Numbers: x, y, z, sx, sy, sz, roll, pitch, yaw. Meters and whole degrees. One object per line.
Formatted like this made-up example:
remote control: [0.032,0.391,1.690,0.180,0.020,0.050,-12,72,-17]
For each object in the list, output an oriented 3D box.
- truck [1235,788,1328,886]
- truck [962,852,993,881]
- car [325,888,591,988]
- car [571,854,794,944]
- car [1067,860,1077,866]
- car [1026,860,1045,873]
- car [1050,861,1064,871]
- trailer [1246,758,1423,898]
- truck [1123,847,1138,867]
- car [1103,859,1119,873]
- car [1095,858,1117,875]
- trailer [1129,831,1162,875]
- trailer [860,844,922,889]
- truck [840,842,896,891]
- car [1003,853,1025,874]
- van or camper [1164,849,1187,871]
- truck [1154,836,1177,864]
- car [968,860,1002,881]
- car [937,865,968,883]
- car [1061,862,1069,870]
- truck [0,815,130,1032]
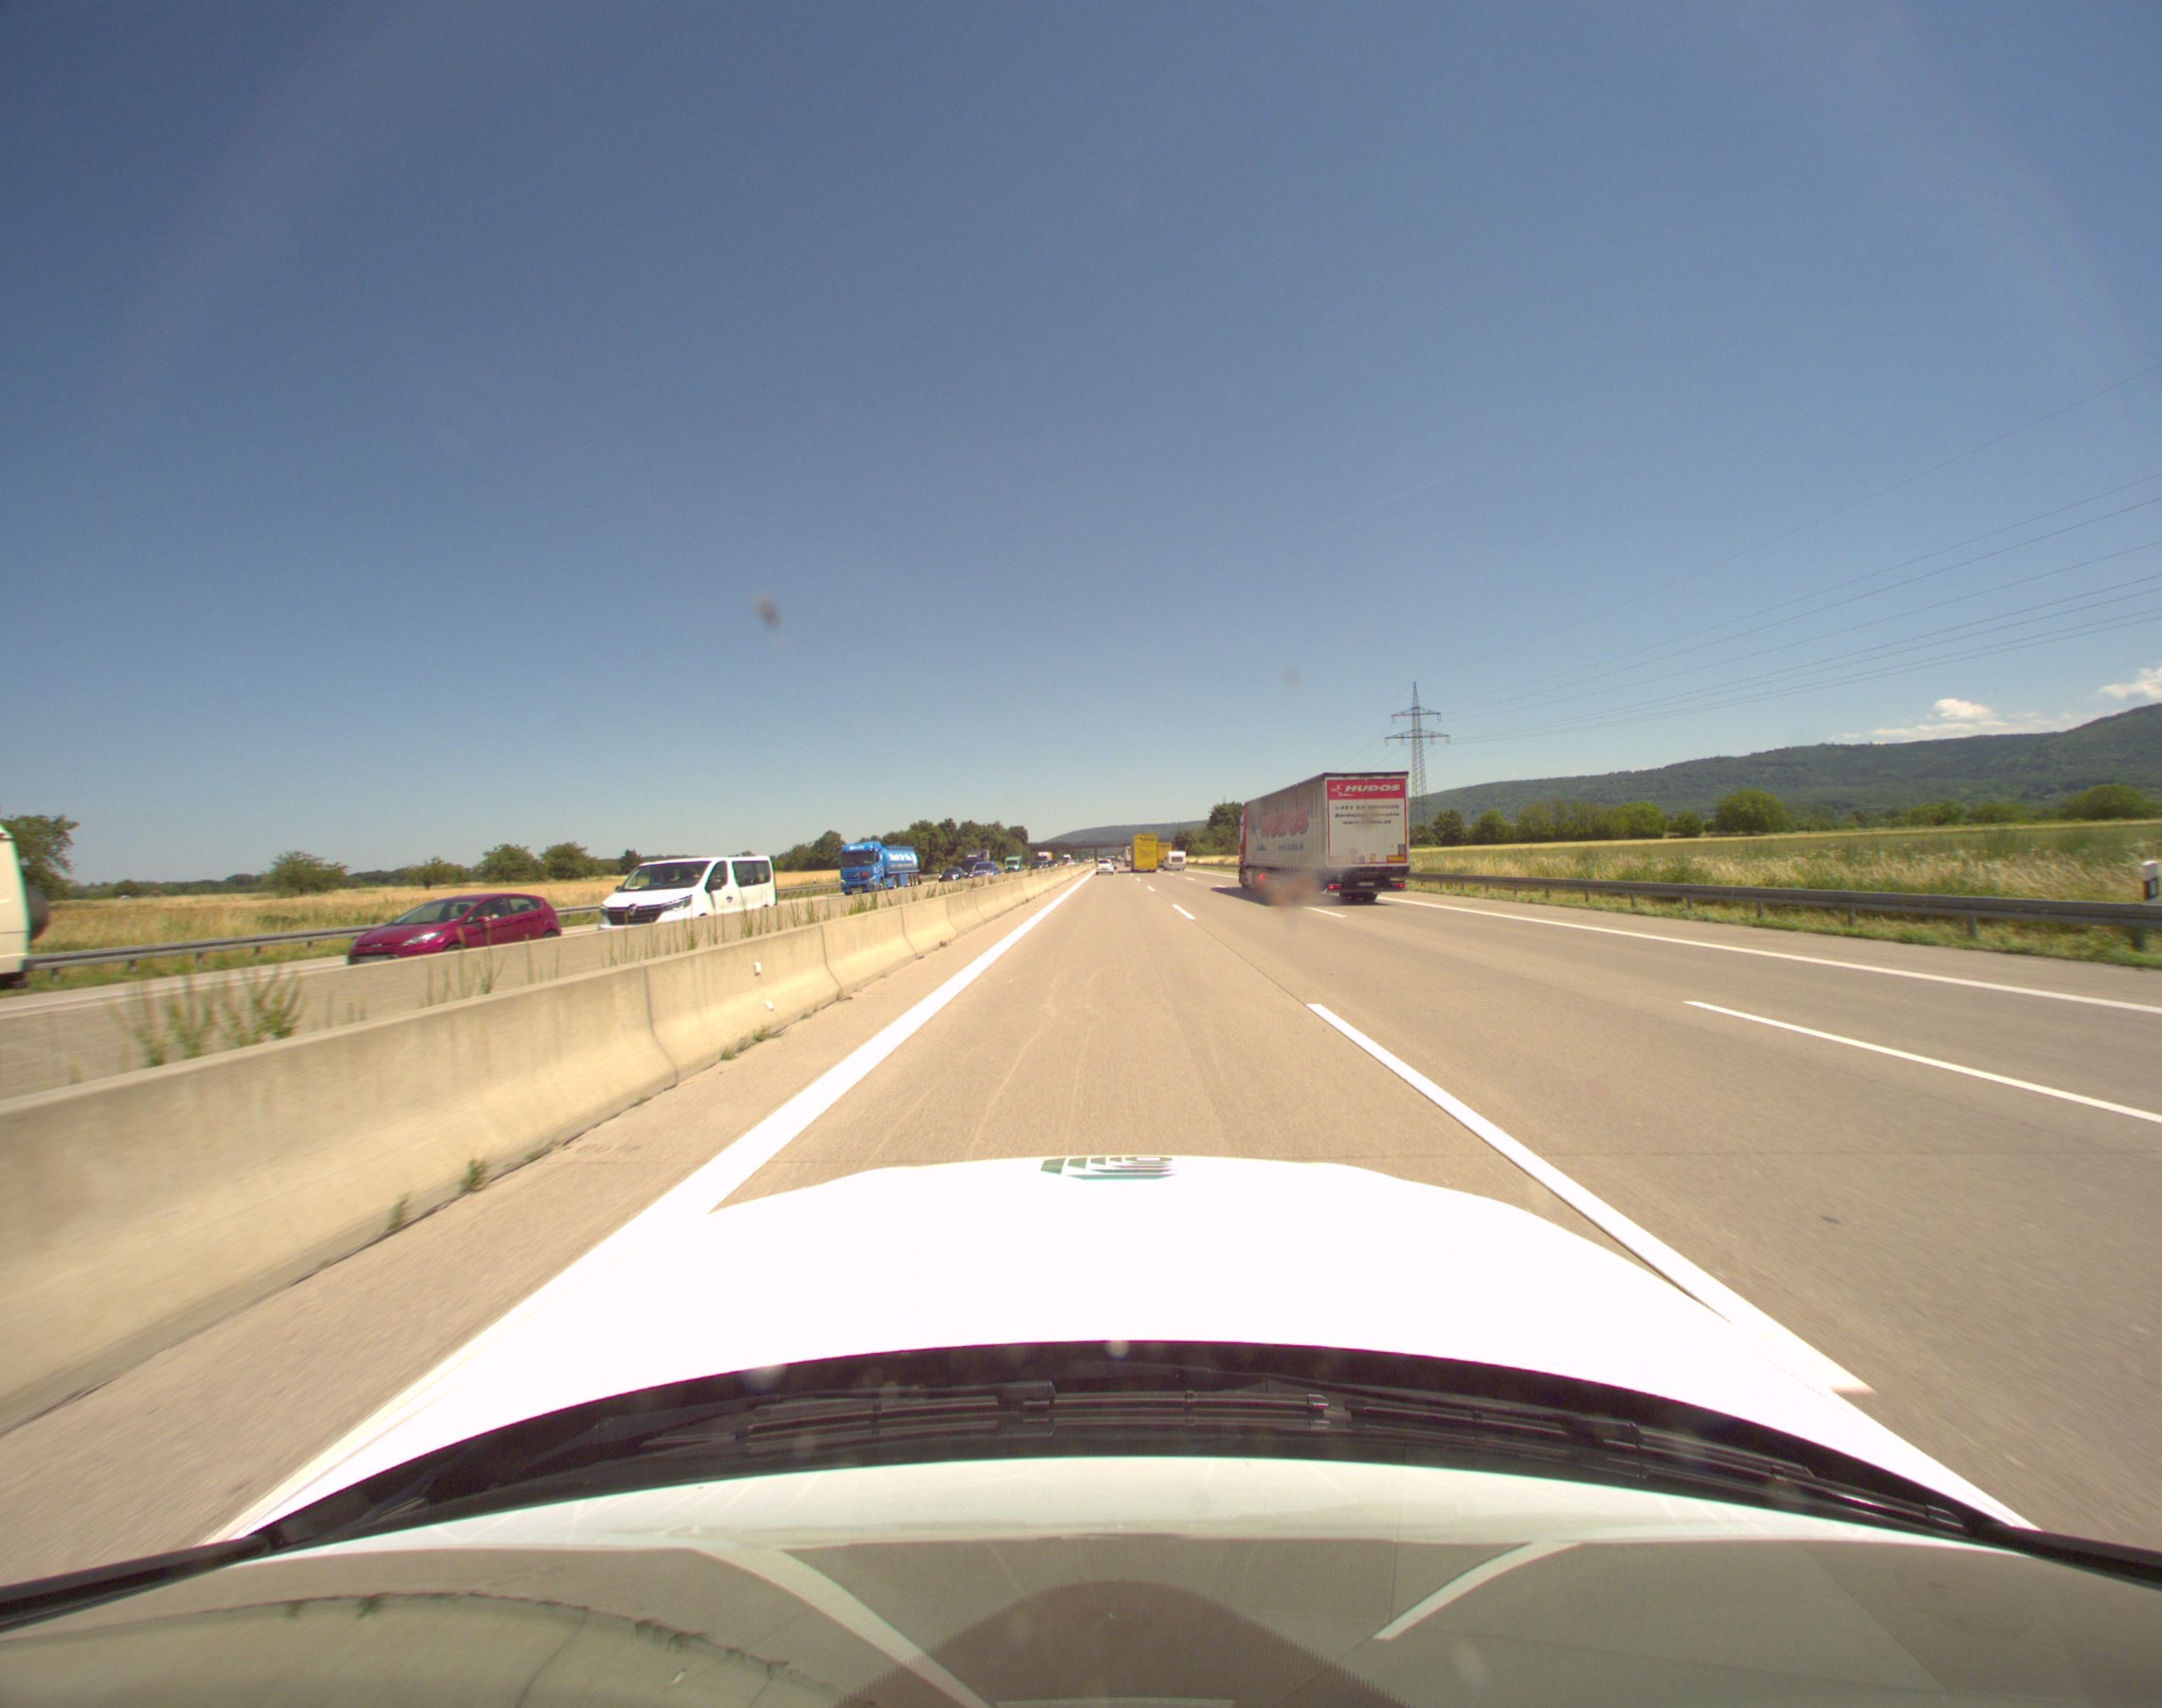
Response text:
truck: [9.044,-0.721,37.407,2.895,4.101,6.274,0,0,2]
truck: [-13.287,1.578,104.955,2.545,3.512,7.888,-3,0,2]
car: [-12.034,1.533,16.199,1.682,1.459,4.489,-3,0,2]
car: [-8.738,0.885,18.628,2.130,1.679,5.647,-2,0,2]
car: [-2.137,2.073,190.418,1.986,1.364,4.672,-4,0,2]
car: [-5.672,1.535,101.584,1.933,1.558,4.890,-2,0,2]
car: [-3.769,1.844,129.048,1.986,1.576,4.851,0,0,2]
trailer: [8.801,-0.743,30.674,2.863,4.100,13.518,0,0,2]
truck: [9.570,0.531,158.771,2.809,3.761,6.286,0,0,2]
car: [4.382,1.725,119.006,2.245,2.014,4.300,0,0,3]
car: [2.472,1.205,79.603,2.098,1.536,4.125,0,0,3]
trailer: [7.098,-0.073,91.179,3.203,4.564,13.464,0,0,2]
trailer: [-14.628,0.906,63.460,2.506,3.272,9.255,0,0,1]
truck: [-14.819,0.836,57.007,2.475,3.309,5.265,0,0,1]
car: [-8.854,1.266,108.206,2.141,2.551,6.466,-2,-1,2]
van or camper: [11.372,0.687,98.429,2.216,2.531,5.433,0,0,2]
truck: [13.282,-0.569,128.351,2.987,4.314,9.688,0,0,2]
car: [-6.619,1.098,56.645,1.773,1.348,4.453,1,0,1]
car: [-10.625,1.630,67.825,1.713,1.448,4.709,0,0,2]
car: [-4.458,3.205,222.710,1.987,2.013,3.999,-2,0,0]
truck: [-16.535,0.987,9.591,2.313,3.084,6.980,0,0,2]
